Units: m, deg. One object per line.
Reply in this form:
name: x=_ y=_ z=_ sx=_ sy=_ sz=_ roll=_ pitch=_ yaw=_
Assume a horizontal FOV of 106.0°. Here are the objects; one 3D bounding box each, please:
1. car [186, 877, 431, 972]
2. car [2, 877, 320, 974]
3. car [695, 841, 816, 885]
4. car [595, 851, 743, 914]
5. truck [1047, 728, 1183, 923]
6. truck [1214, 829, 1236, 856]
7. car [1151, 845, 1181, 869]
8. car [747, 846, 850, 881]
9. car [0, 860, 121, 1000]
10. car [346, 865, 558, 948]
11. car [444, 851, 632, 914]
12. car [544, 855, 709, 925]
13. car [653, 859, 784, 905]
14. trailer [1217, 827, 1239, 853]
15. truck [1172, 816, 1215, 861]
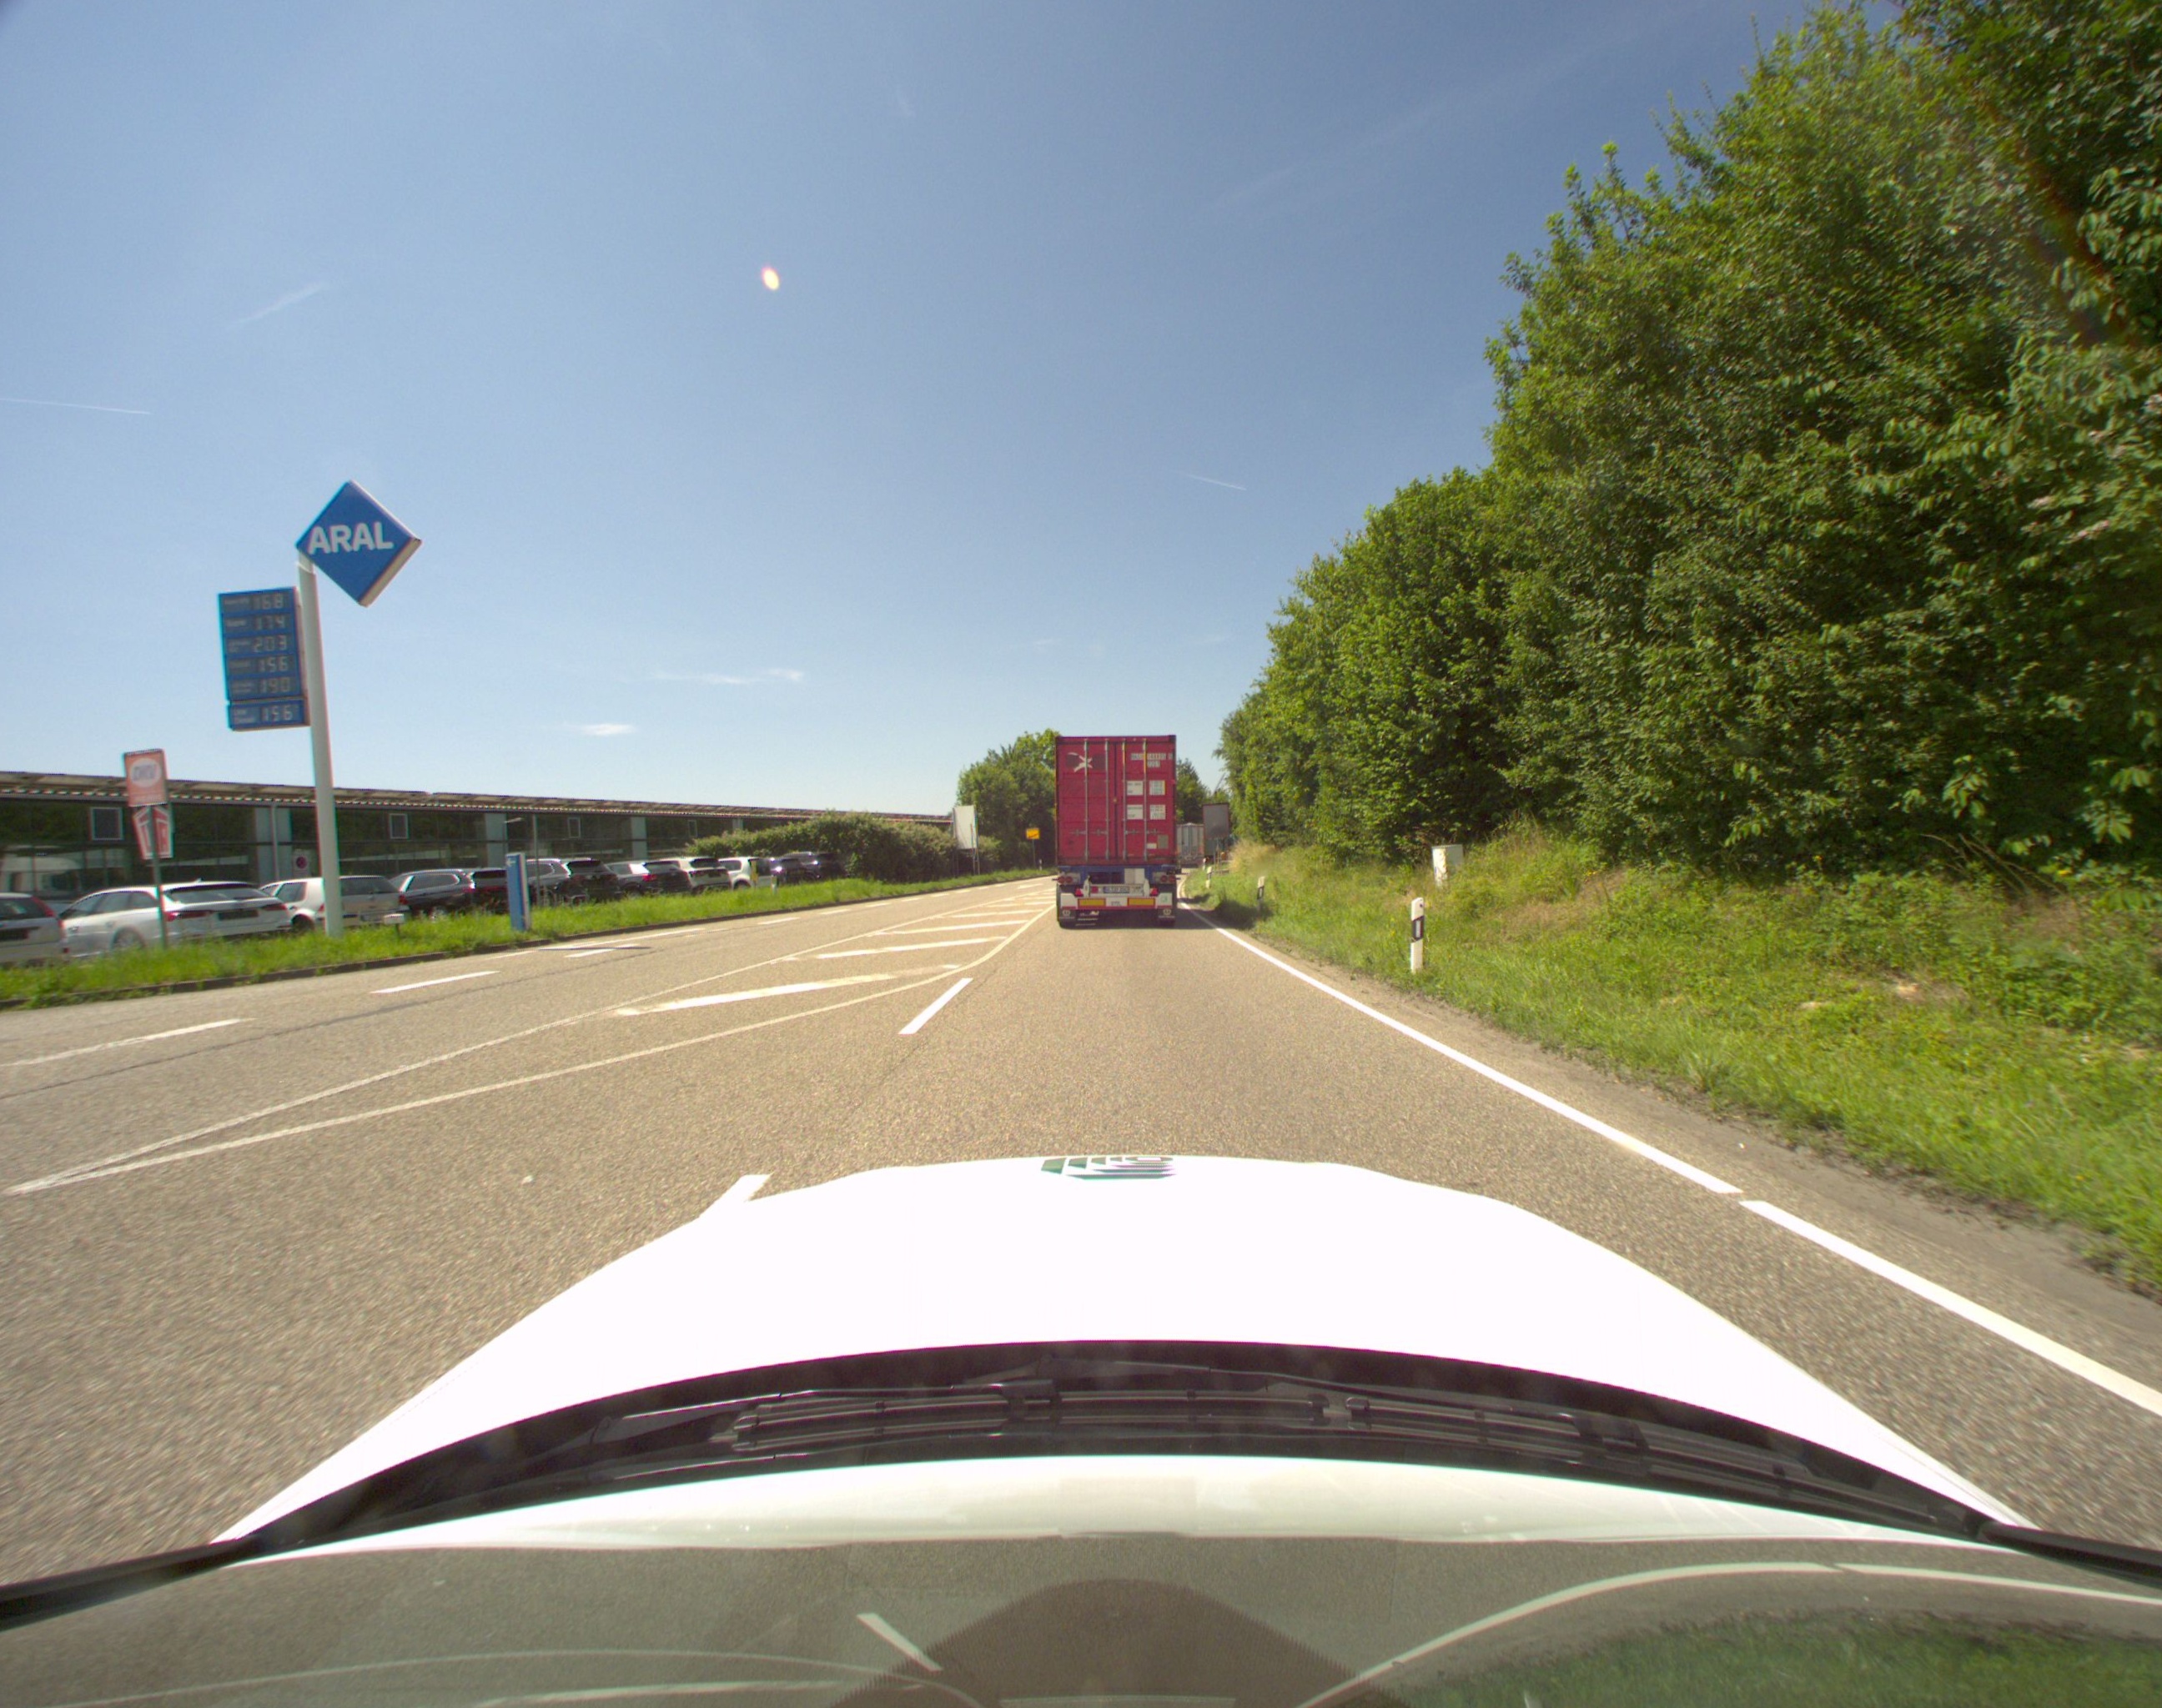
car: x=-16.327 y=1.463 z=17.272 sx=3.957 sy=1.750 sz=1.943 roll=-3 pitch=-1 yaw=15
car: x=-16.623 y=1.275 z=14.799 sx=4.206 sy=1.359 sz=2.008 roll=-4 pitch=0 yaw=13
car: x=-12.714 y=0.339 z=31.903 sx=3.960 sy=1.362 sz=1.827 roll=-4 pitch=0 yaw=12
car: x=-13.692 y=0.939 z=27.134 sx=3.957 sy=1.749 sz=2.009 roll=-4 pitch=0 yaw=15
truck: x=0.847 y=-0.593 z=22.688 sx=2.638 sy=3.806 sz=13.364 roll=-1 pitch=0 yaw=2
truck: x=20.944 y=-1.654 z=118.126 sx=2.560 sy=3.679 sz=7.905 roll=-1 pitch=0 yaw=14
car: x=5.762 y=0.164 z=55.081 sx=1.823 sy=1.433 sz=4.007 roll=-4 pitch=0 yaw=6
car: x=-11.802 y=0.382 z=34.117 sx=3.668 sy=1.373 sz=1.811 roll=0 pitch=1 yaw=16
car: x=-17.688 y=1.251 z=12.594 sx=3.958 sy=2.013 sz=2.008 roll=-4 pitch=0 yaw=14
car: x=-15.113 y=1.237 z=19.645 sx=3.957 sy=1.750 sz=2.008 roll=-3 pitch=-1 yaw=15
car: x=-14.578 y=0.739 z=21.940 sx=3.957 sy=1.332 sz=2.009 roll=-4 pitch=0 yaw=15
car: x=-13.732 y=1.061 z=24.694 sx=3.957 sy=1.749 sz=2.009 roll=-4 pitch=0 yaw=15
car: x=-13.213 y=1.011 z=29.796 sx=3.959 sy=1.317 sz=1.840 roll=-4 pitch=0 yaw=13
trailer: x=22.330 y=-2.115 z=123.584 sx=2.559 sy=3.819 sz=8.949 roll=-1 pitch=0 yaw=14
truck: x=10.915 y=-1.479 z=77.531 sx=2.902 sy=3.716 sz=13.404 roll=-4 pitch=0 yaw=12
